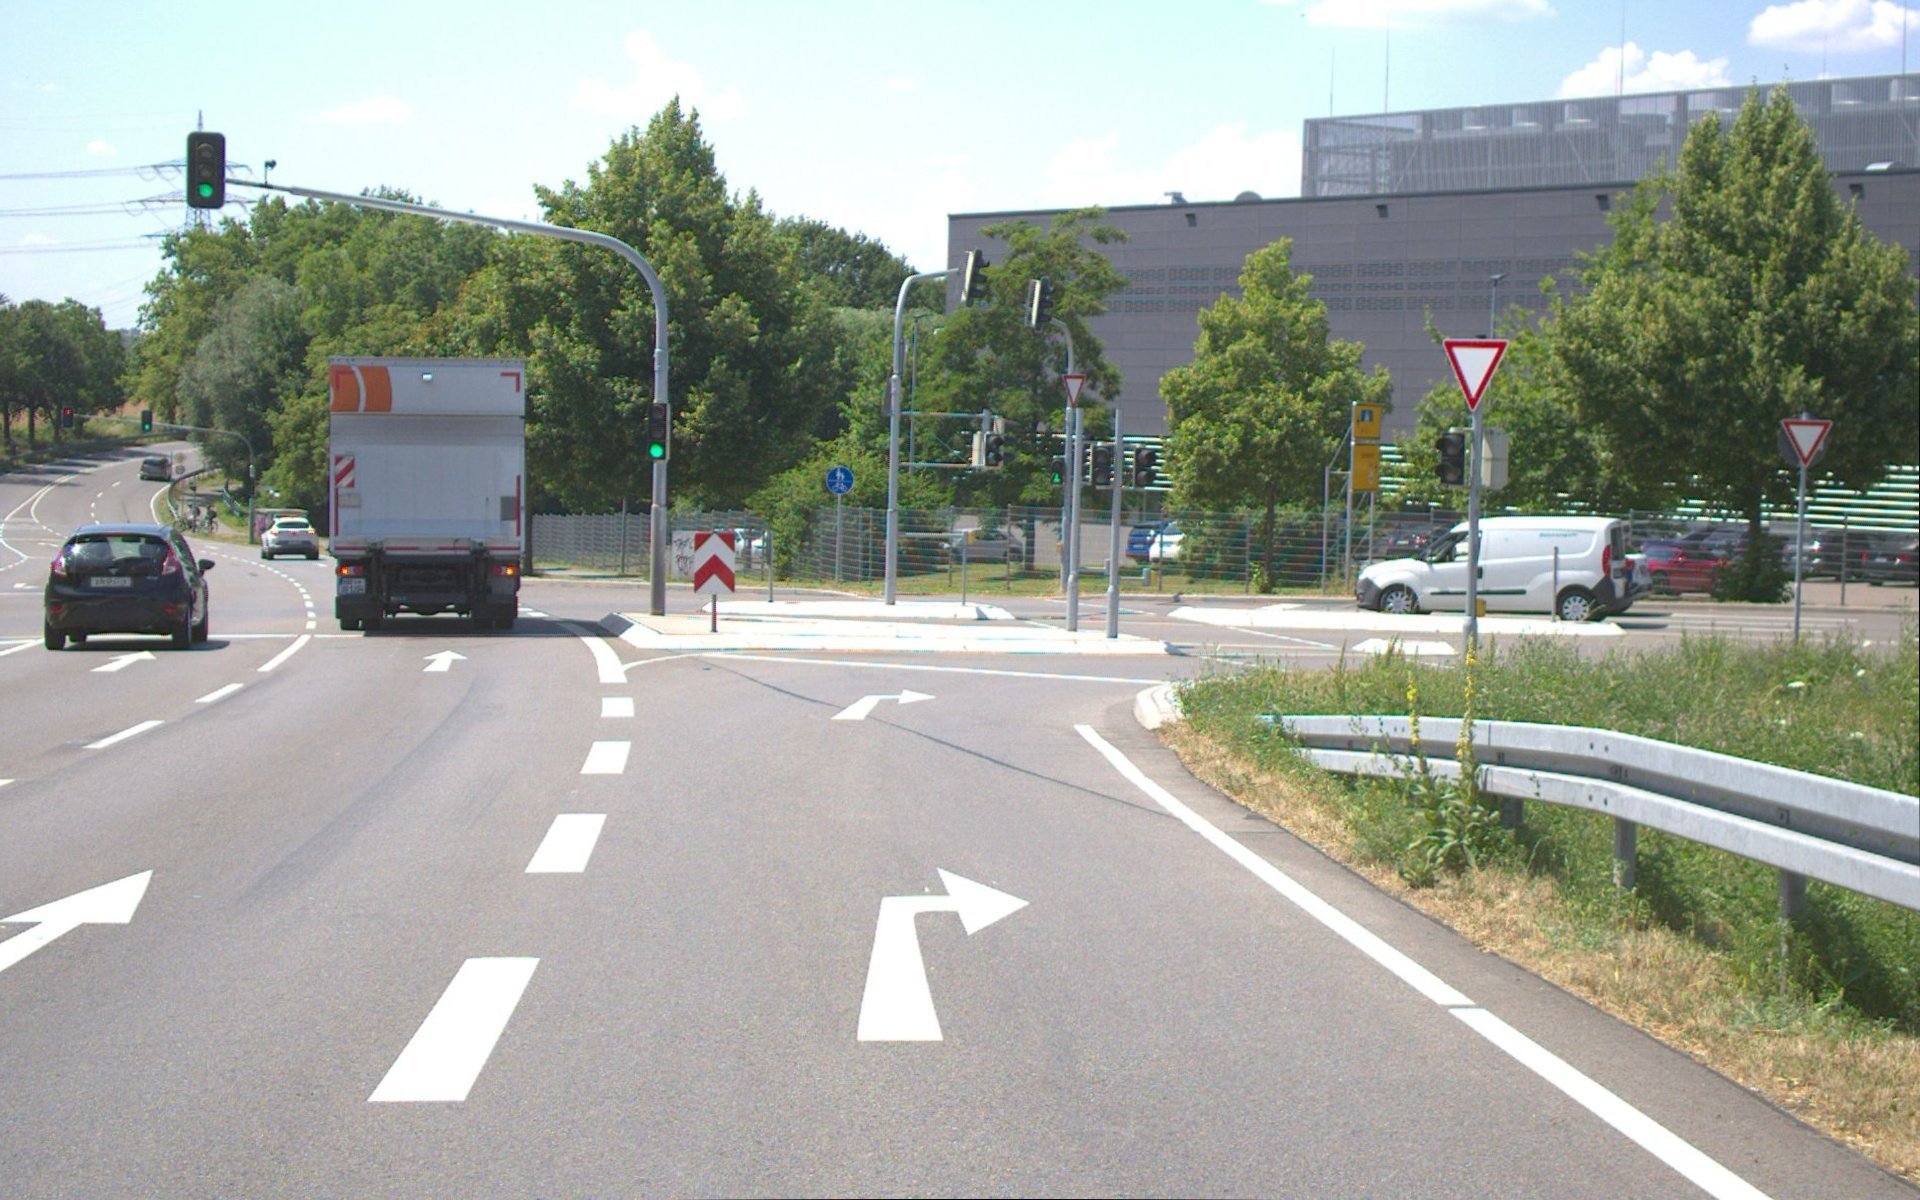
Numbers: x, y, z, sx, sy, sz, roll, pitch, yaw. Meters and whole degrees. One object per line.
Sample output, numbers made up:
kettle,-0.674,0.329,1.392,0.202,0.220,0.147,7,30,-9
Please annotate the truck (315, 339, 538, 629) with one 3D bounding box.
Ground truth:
truck,-7.551,-1.654,48.988,2.803,3.698,9.111,1,2,-8

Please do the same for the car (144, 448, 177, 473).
car,-57.514,-10.043,247.472,1.993,1.678,4.001,1,1,-9

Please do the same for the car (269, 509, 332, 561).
car,-23.586,-2.324,122.830,1.943,1.658,4.002,3,2,-13

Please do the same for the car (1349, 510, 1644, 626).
car,9.375,-0.576,59.997,4.750,1.925,2.151,1,1,20

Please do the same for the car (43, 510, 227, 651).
car,-9.928,-0.275,41.594,1.652,1.488,4.209,1,3,-7
